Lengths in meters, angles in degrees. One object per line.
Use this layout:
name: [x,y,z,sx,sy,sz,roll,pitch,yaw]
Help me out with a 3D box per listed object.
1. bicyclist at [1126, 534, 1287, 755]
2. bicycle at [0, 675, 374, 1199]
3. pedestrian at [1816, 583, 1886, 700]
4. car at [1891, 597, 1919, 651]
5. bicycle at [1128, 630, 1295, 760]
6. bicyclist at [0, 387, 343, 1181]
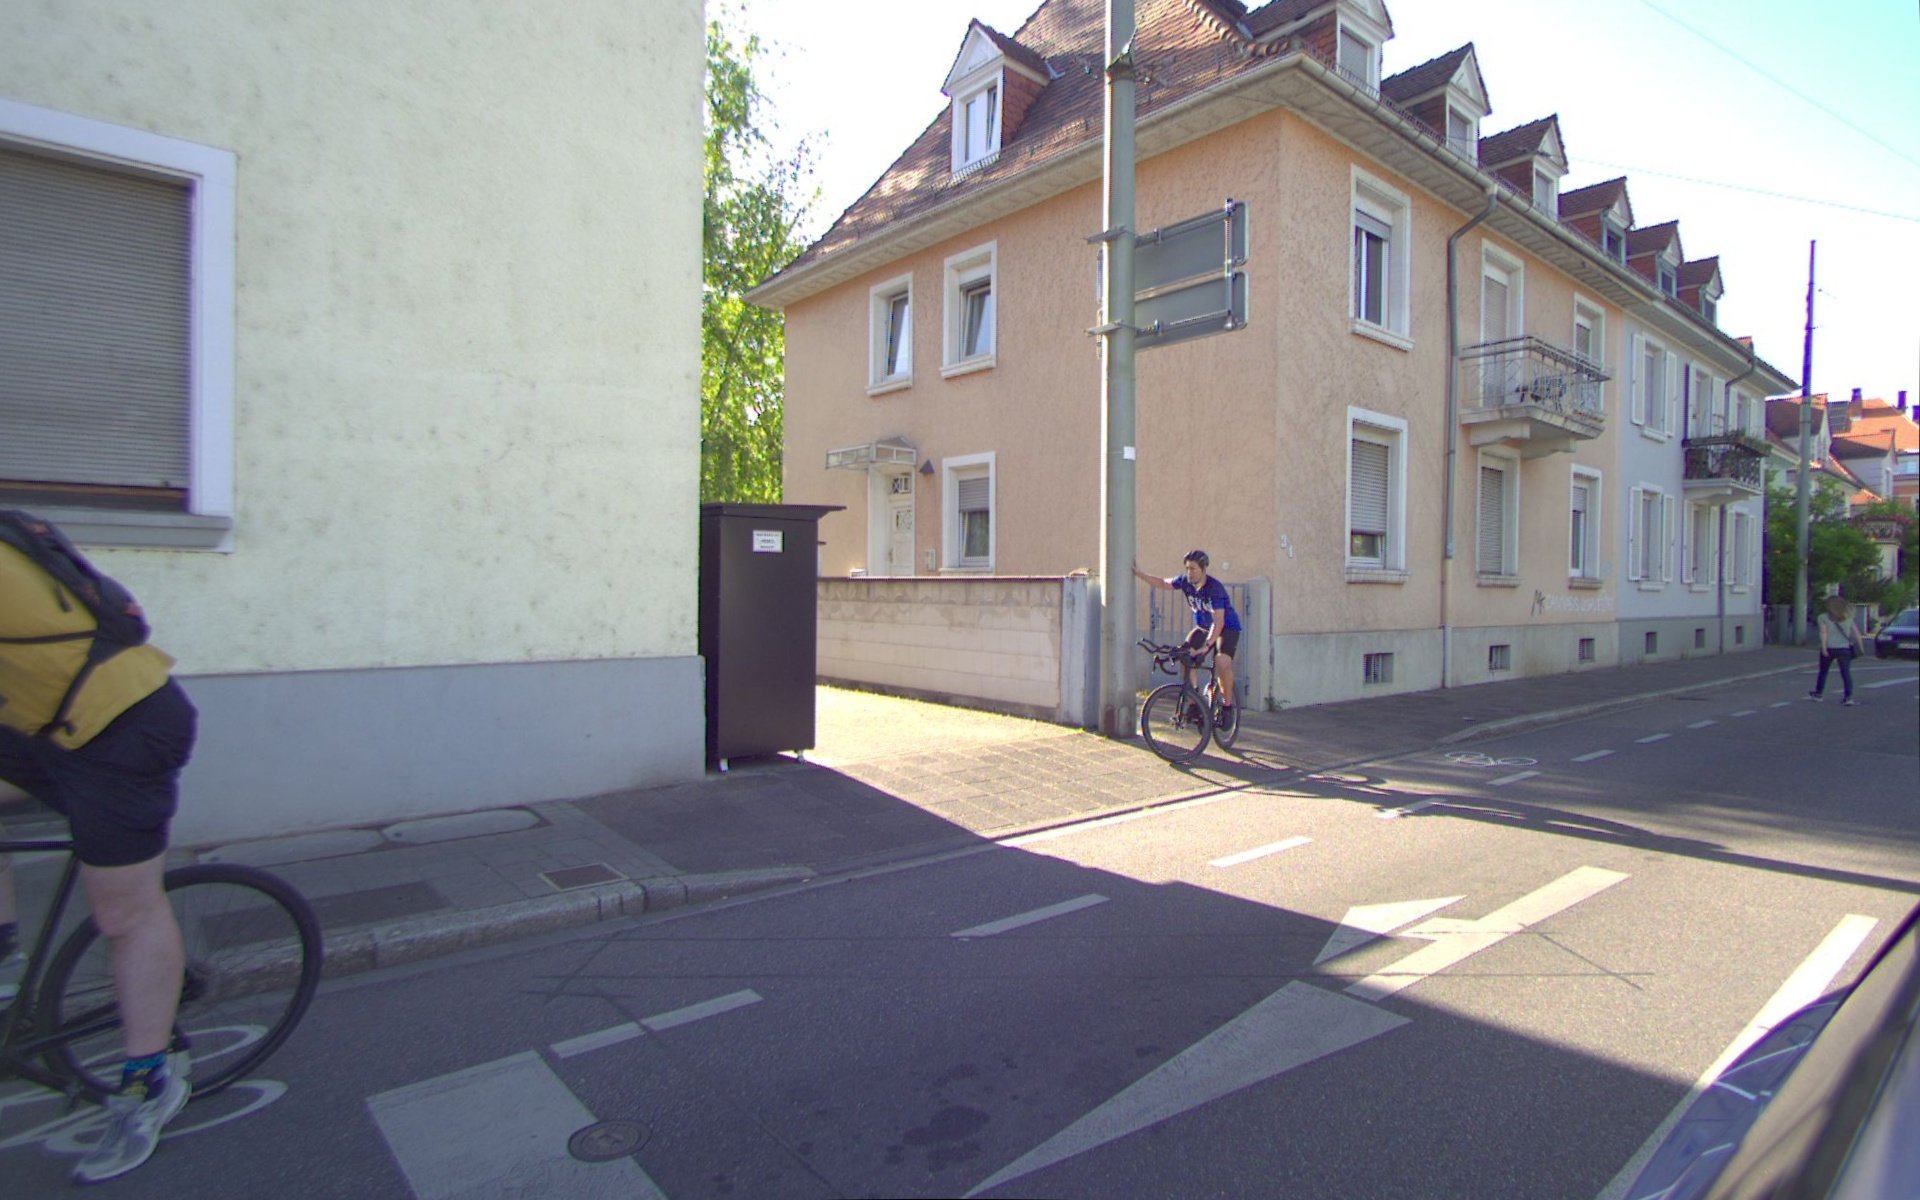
bicyclist: [2.282,0.361,9.438,0.831,1.887,1.076,0,4,-40]
bicycle: [-2.478,0.844,2.539,1.669,1.180,0.572,0,1,-41]
pedestrian: [13.412,0.591,15.227,1.080,1.682,0.693,0,0,-44]
car: [26.697,0.629,27.347,3.796,1.382,1.648,0,1,-38]
bicycle: [2.315,0.817,9.213,1.669,1.003,0.572,0,4,-41]
bicyclist: [-2.302,0.421,2.704,1.018,1.840,0.653,0,1,-41]
